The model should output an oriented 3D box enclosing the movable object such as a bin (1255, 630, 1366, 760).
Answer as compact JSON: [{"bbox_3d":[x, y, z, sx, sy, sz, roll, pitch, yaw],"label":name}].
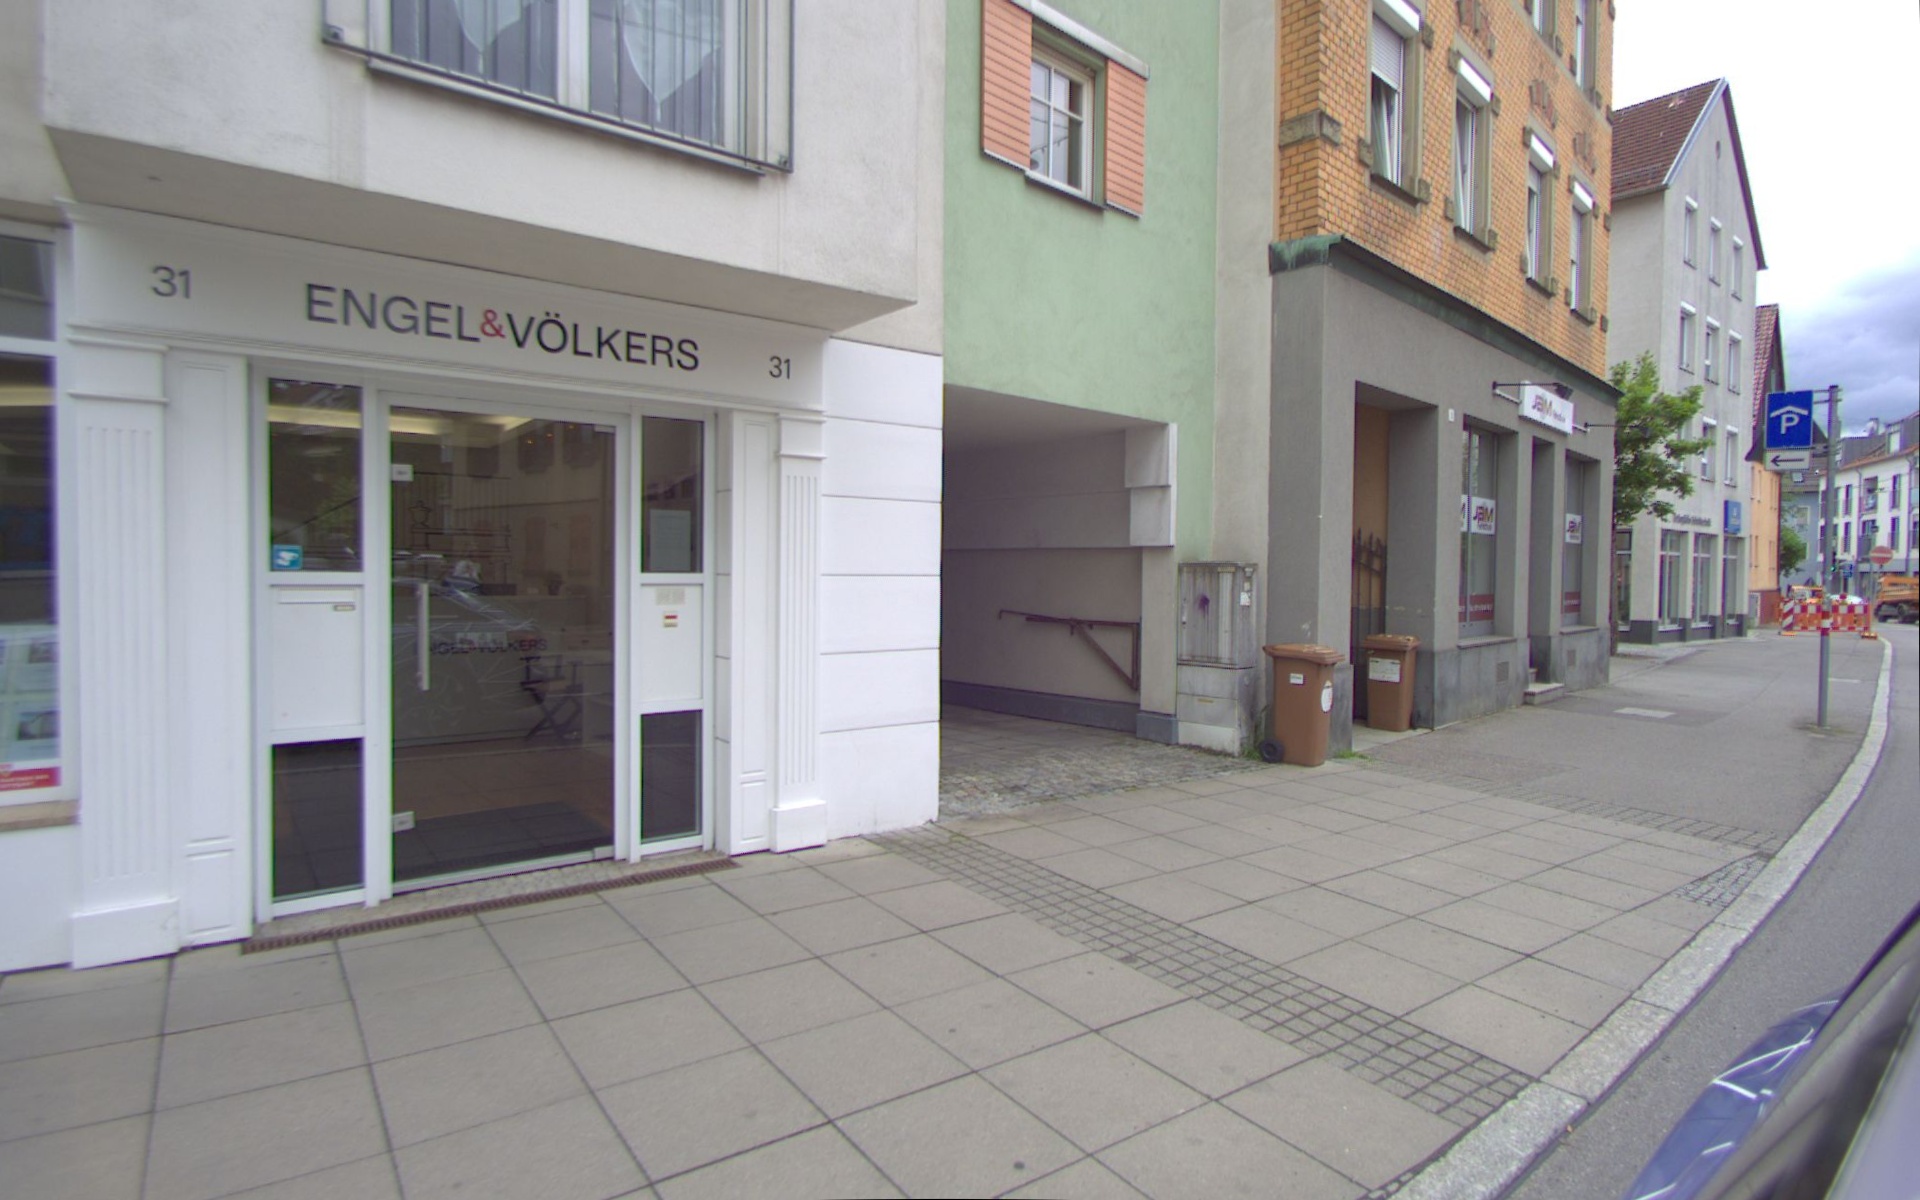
[{"bbox_3d":[2.794,0.732,8.079,0.571,0.932,0.621,0,2,-40],"label":"movable object such as a bin"}]

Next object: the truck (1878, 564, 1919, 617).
[{"bbox_3d":[53.073,-0.462,55.216,2.715,2.759,6.782,2,1,27],"label":"truck"}]

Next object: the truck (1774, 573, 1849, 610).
[{"bbox_3d":[61.207,-0.584,72.903,2.395,2.496,6.256,2,1,24],"label":"truck"}]

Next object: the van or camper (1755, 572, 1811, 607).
[{"bbox_3d":[65.473,-0.804,80.628,2.306,2.640,6.145,2,1,28],"label":"van or camper"}]

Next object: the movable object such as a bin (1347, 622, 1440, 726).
[{"bbox_3d":[4.313,0.711,10.063,0.727,0.945,0.580,0,2,-42],"label":"movable object such as a bin"}]
